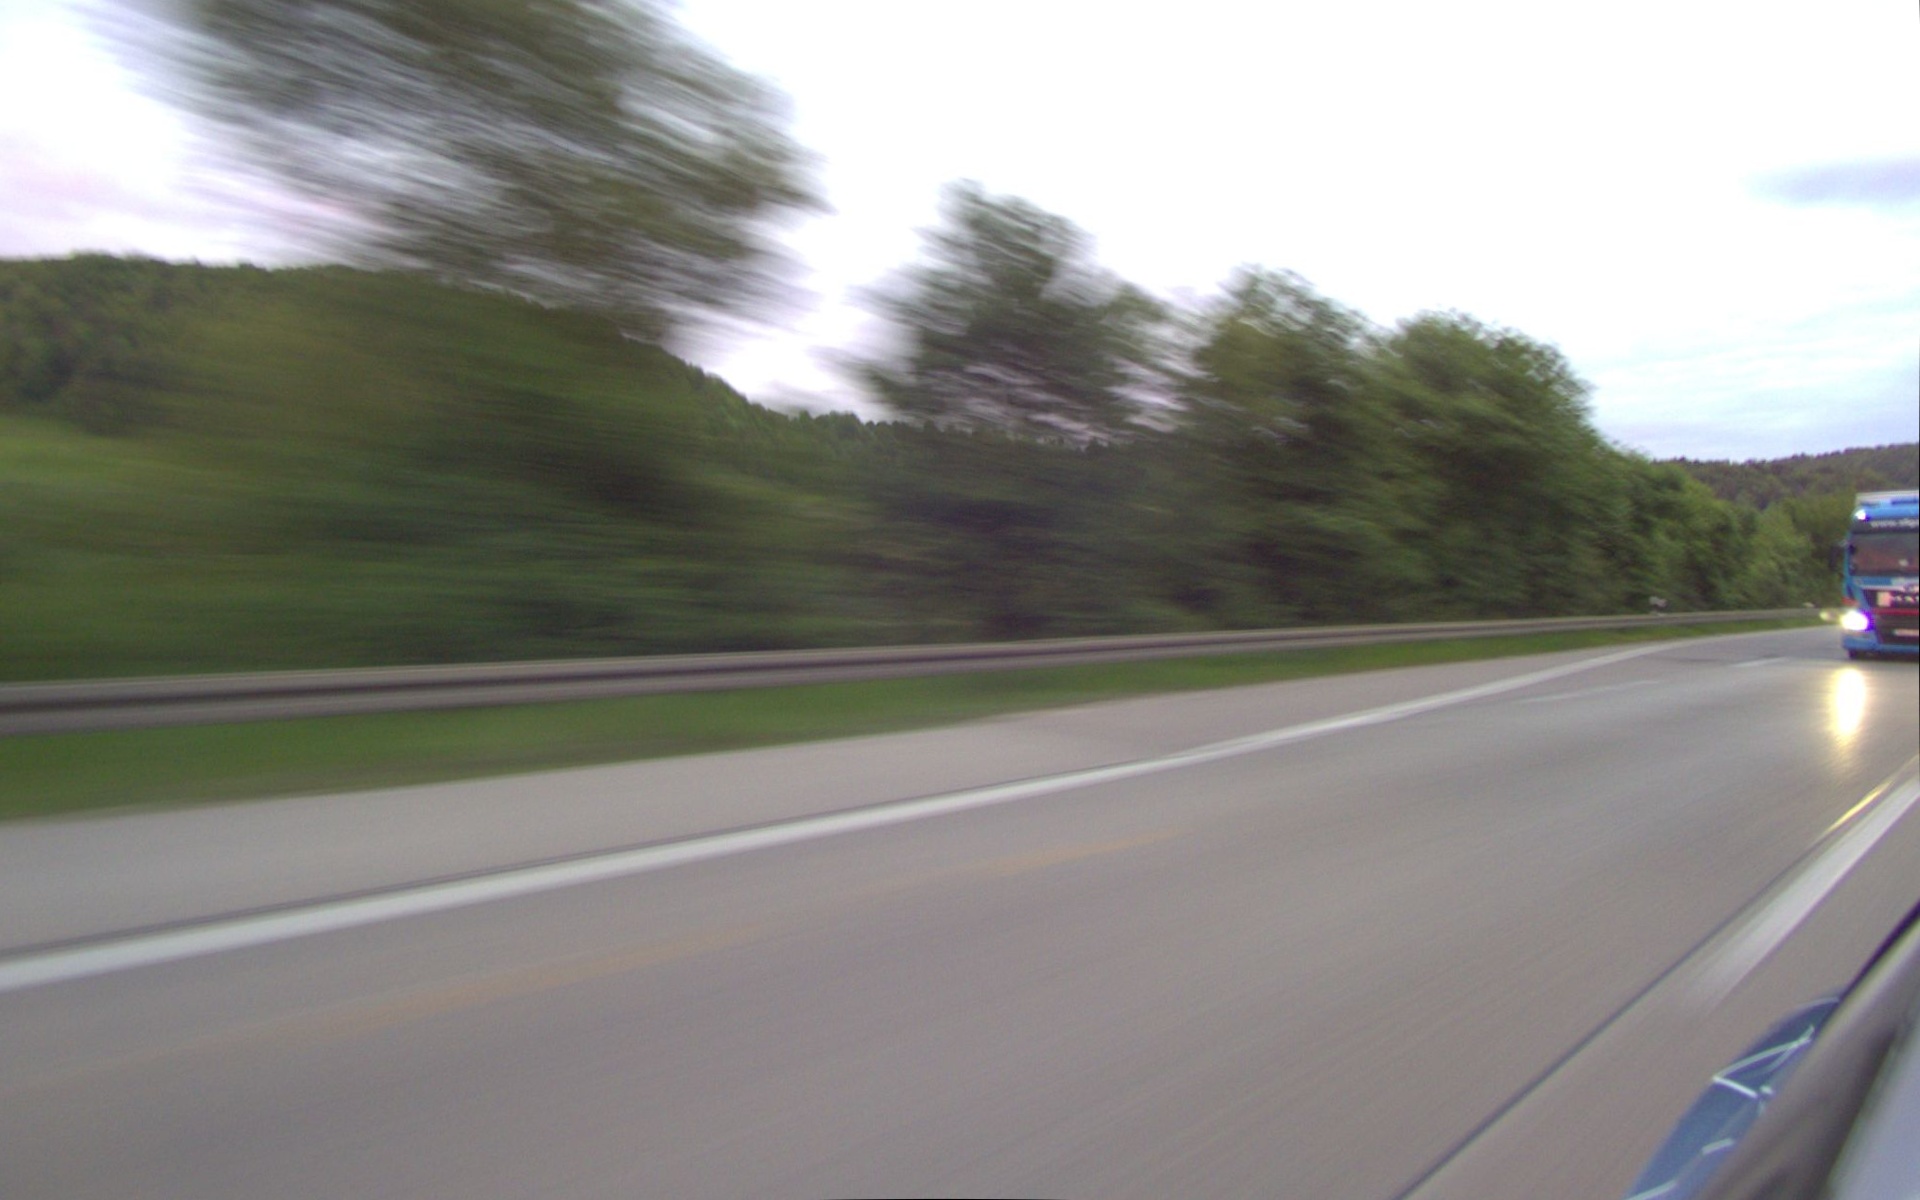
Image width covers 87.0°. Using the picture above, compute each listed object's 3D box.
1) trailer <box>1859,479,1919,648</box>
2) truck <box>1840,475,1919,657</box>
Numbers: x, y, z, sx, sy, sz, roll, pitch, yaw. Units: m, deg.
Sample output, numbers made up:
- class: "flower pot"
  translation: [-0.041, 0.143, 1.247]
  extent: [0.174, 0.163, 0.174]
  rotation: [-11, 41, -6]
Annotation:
- class: "trailer"
  translation: [28.821, -0.912, 29.026]
  extent: [13.499, 4.137, 2.777]
  rotation: [0, 1, -41]
- class: "truck"
  translation: [23.551, -0.756, 24.382]
  extent: [5.747, 4.046, 2.741]
  rotation: [0, 1, -41]
